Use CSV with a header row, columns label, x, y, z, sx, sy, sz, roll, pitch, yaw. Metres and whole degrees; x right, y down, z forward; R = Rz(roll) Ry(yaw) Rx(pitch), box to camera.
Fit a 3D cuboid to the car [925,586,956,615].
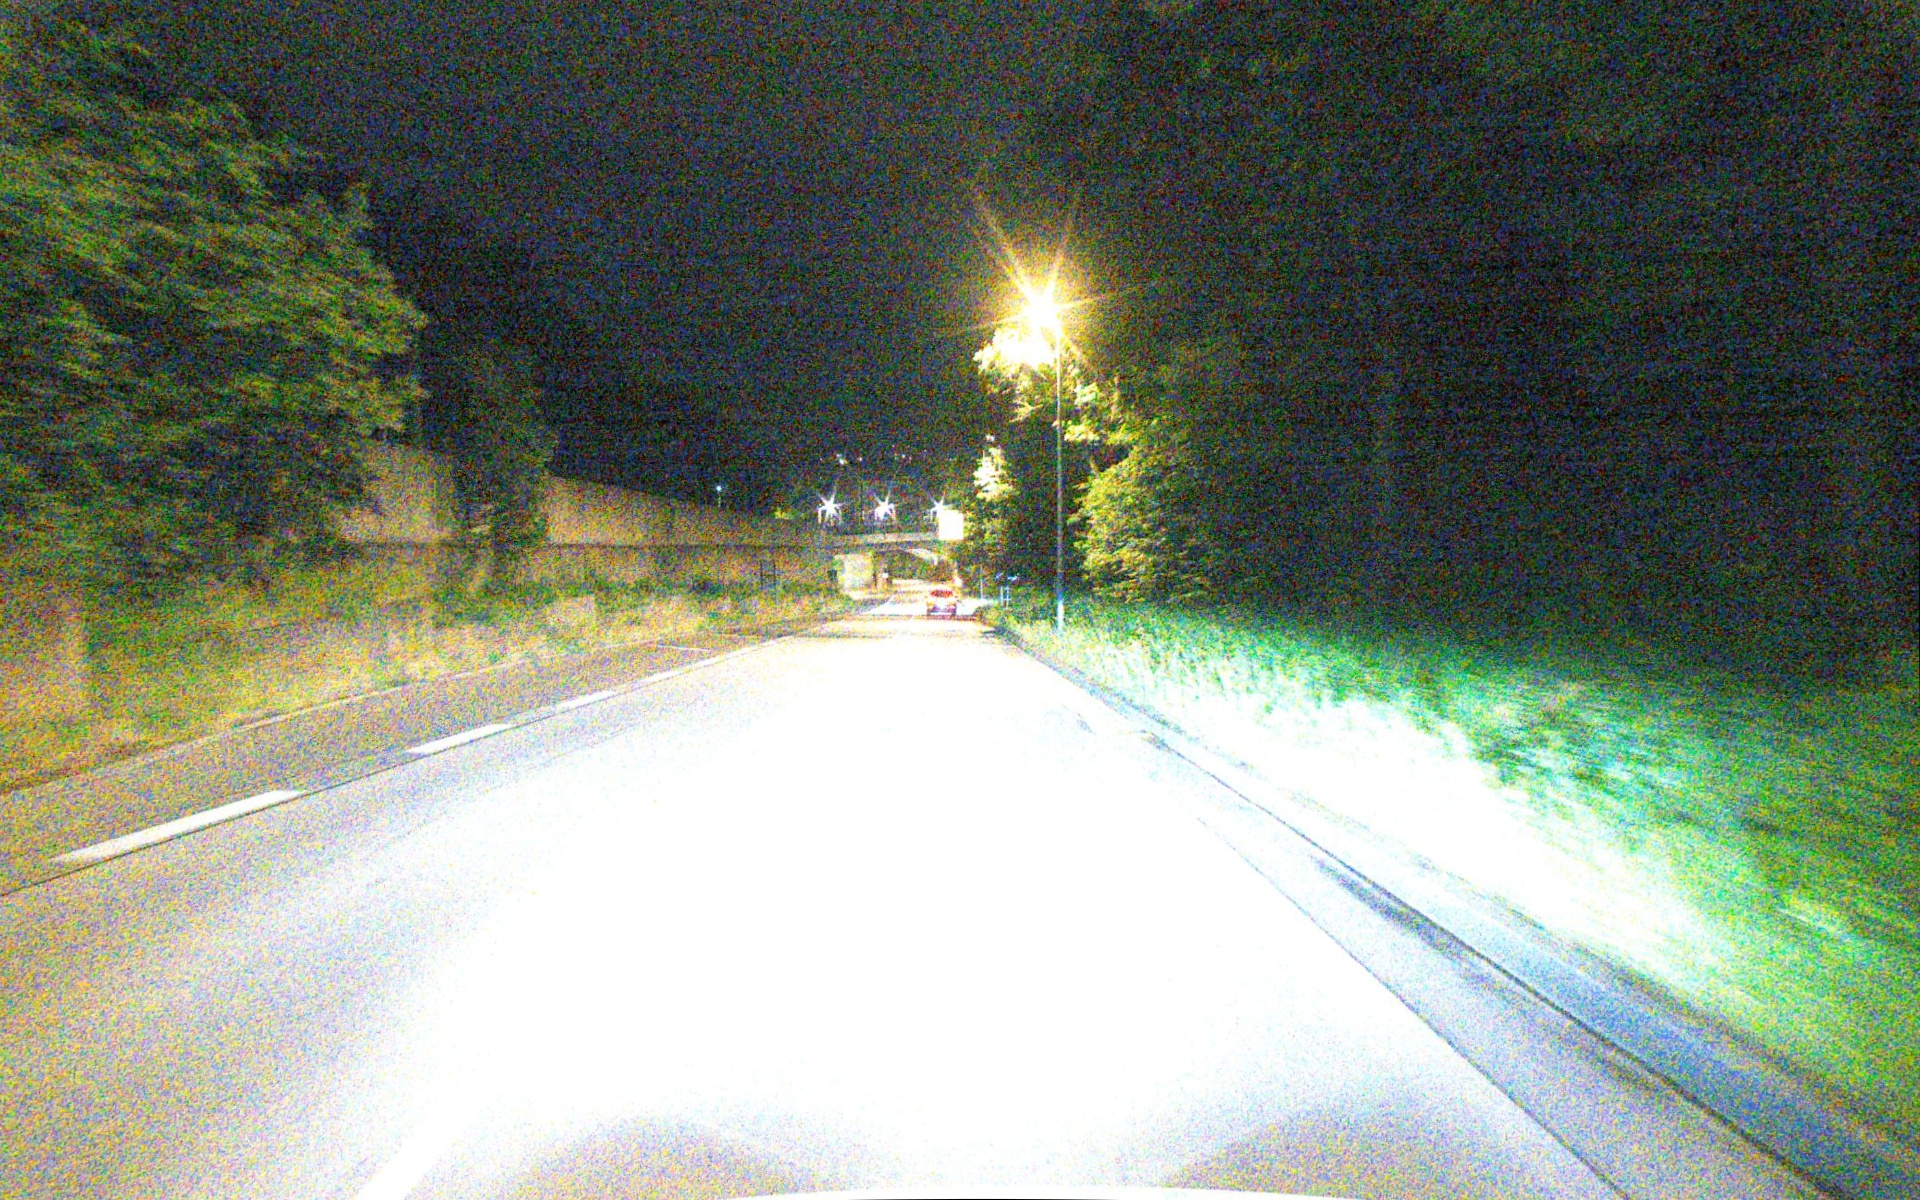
label,x,y,z,sx,sy,sz,roll,pitch,yaw
car,-1.146,0.000,99.961,1.726,1.670,3.724,0,1,2
